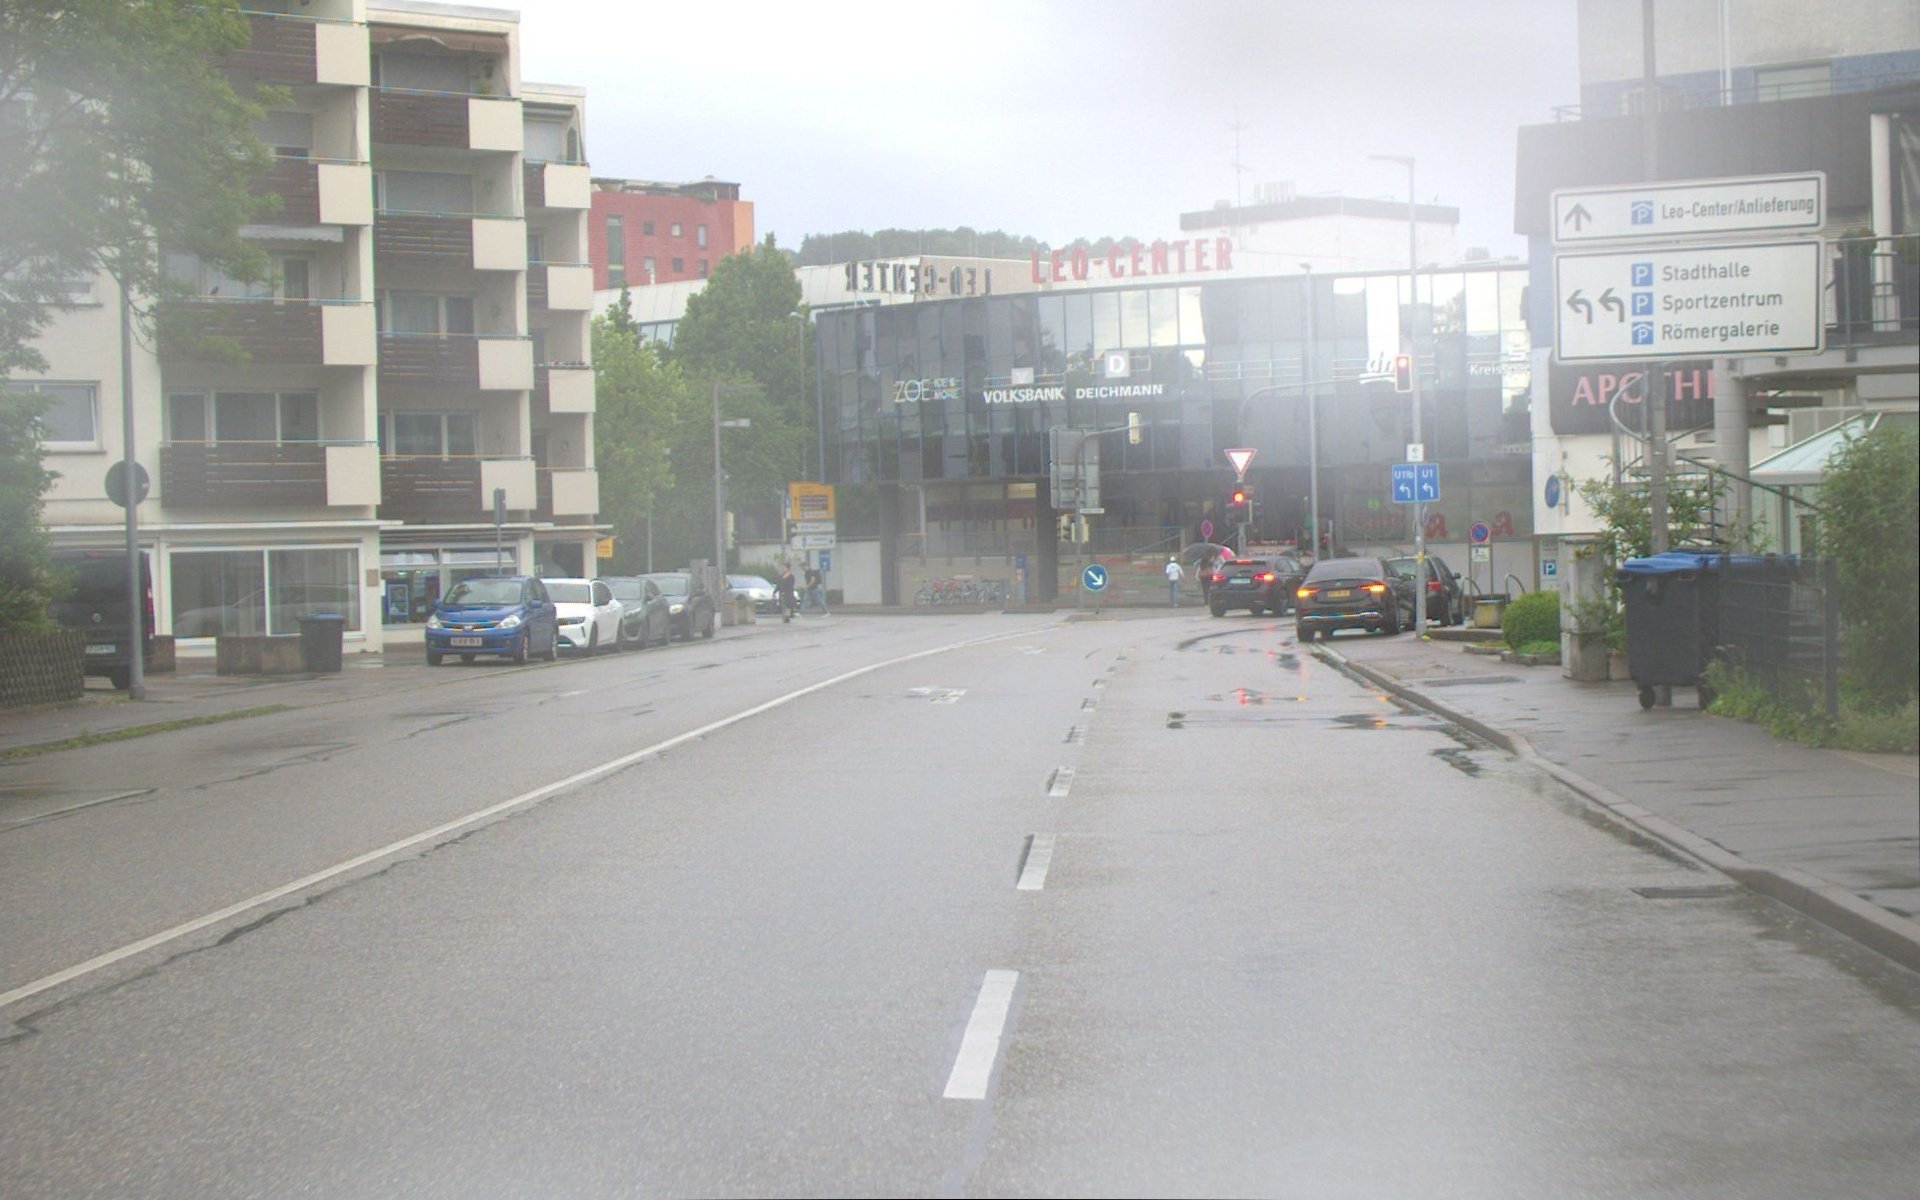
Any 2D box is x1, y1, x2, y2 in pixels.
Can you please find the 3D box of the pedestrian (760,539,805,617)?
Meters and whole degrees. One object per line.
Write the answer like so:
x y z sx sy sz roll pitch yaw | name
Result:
-4.712 -0.583 91.427 0.749 2.007 0.920 3 1 26 | pedestrian

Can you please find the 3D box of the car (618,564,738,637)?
-6.199 -0.009 75.968 1.935 1.536 4.272 -1 1 5 | car

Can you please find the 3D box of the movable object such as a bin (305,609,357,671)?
-10.133 0.646 55.414 0.648 0.962 0.682 -2 0 5 | movable object such as a bin

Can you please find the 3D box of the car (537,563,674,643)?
-7.192 0.043 70.213 1.935 1.536 4.520 -1 1 5 | car

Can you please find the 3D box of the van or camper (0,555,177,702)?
-13.369 0.353 49.273 1.994 1.918 5.216 -3 3 -40 | van or camper

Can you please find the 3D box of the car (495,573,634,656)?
-7.437 0.244 65.081 1.693 1.459 4.683 -1 1 5 | car

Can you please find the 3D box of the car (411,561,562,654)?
-8.119 0.098 59.247 1.652 1.515 4.324 -1 1 5 | car

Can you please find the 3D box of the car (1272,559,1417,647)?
7.046 0.075 62.624 1.995 1.528 4.644 0 0 14 | car

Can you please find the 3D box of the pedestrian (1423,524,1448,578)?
17.964 -1.852 129.886 0.788 2.007 0.670 -2 0 15 | pedestrian

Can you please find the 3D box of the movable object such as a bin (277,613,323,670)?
-10.726 0.667 55.884 0.574 0.900 0.598 -2 0 5 | movable object such as a bin

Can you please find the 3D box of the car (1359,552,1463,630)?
9.631 -0.211 73.240 1.699 1.481 3.998 -4 0 13 | car

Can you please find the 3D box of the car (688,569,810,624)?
-6.891 -0.120 111.865 1.993 1.506 4.434 1 2 -32 | car

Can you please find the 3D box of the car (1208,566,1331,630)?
7.432 -0.056 82.135 1.806 1.414 3.996 -1 1 22 | car

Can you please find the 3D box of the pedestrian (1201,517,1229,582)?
6.674 -1.326 89.896 0.609 1.653 0.672 2 2 0 | pedestrian

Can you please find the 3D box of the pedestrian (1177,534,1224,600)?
6.233 -0.854 89.044 0.908 1.653 0.755 2 2 -23 | pedestrian
